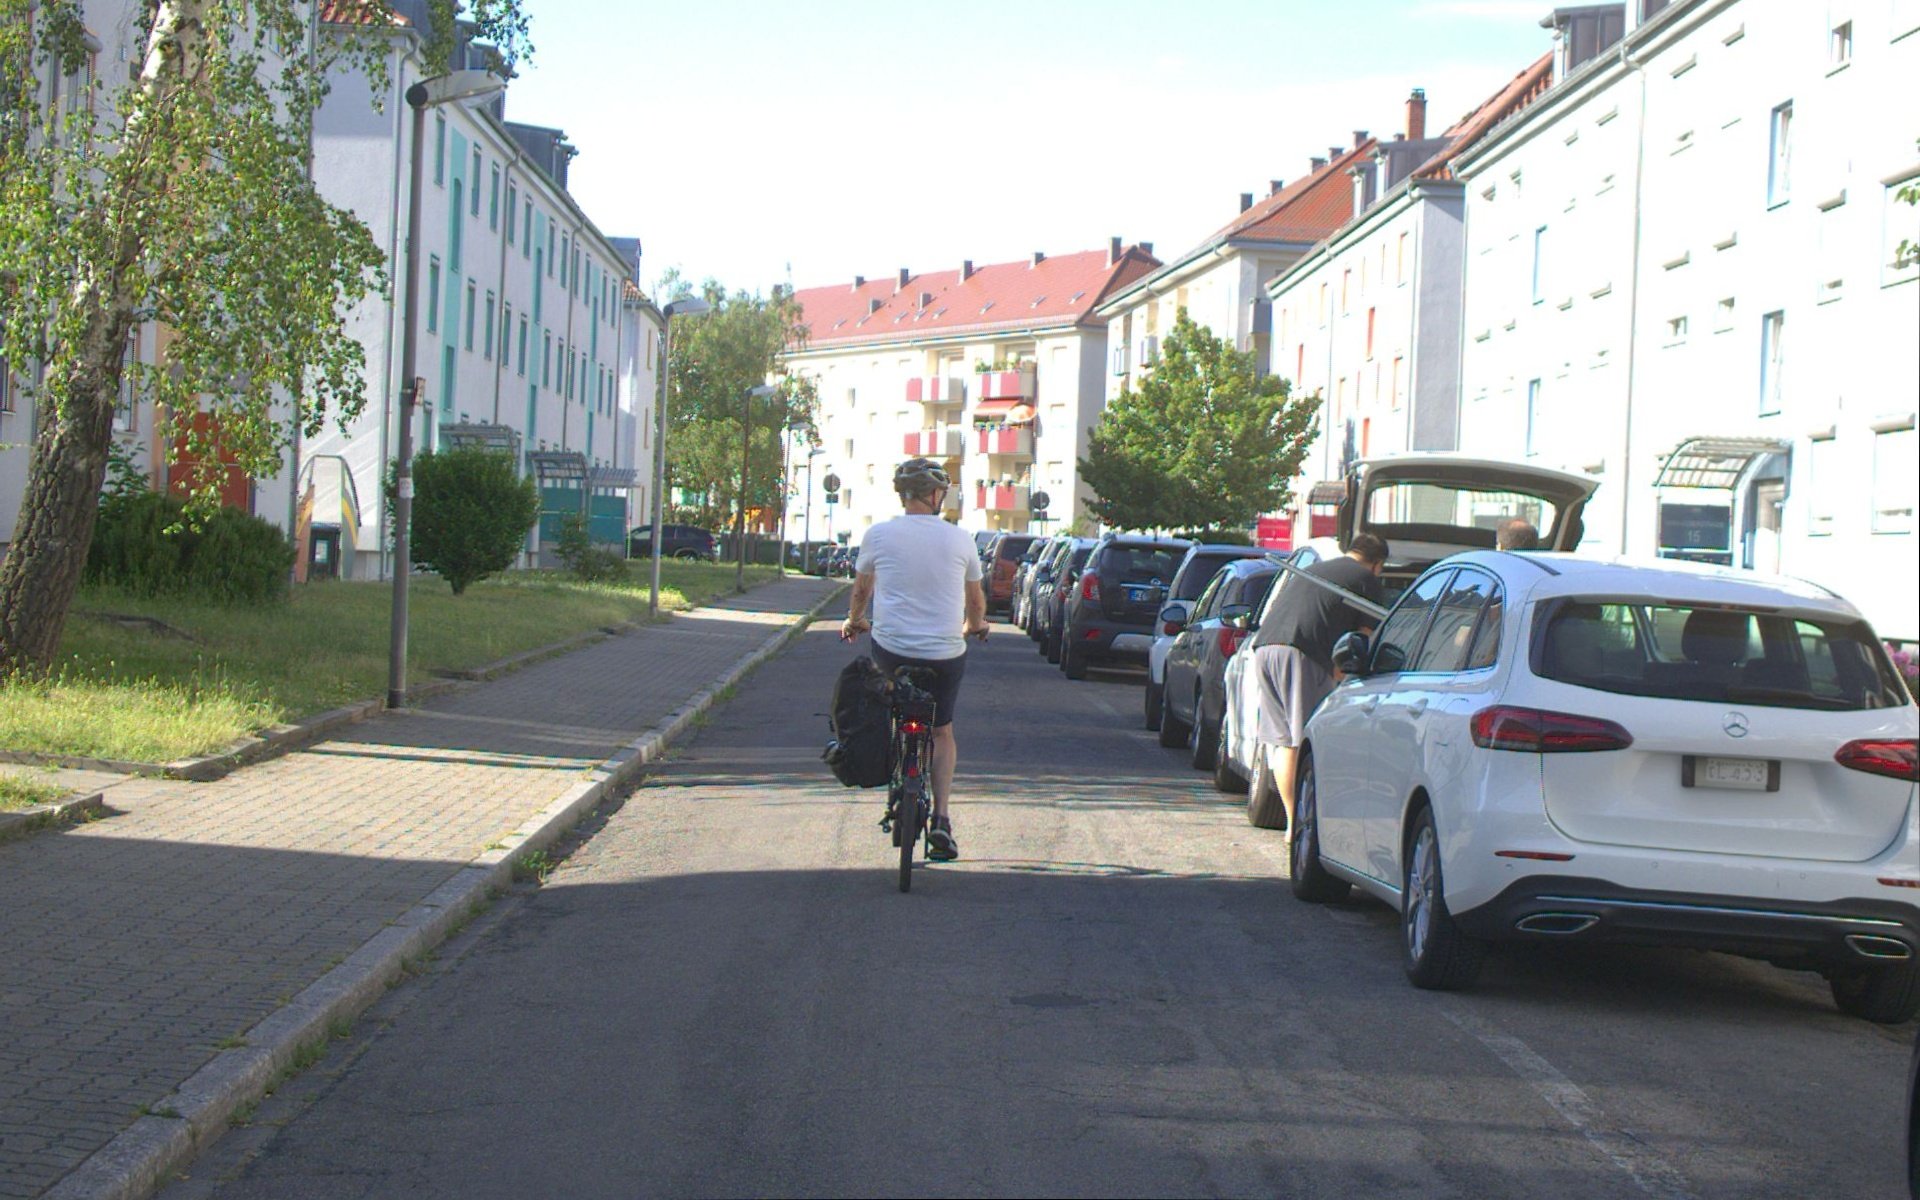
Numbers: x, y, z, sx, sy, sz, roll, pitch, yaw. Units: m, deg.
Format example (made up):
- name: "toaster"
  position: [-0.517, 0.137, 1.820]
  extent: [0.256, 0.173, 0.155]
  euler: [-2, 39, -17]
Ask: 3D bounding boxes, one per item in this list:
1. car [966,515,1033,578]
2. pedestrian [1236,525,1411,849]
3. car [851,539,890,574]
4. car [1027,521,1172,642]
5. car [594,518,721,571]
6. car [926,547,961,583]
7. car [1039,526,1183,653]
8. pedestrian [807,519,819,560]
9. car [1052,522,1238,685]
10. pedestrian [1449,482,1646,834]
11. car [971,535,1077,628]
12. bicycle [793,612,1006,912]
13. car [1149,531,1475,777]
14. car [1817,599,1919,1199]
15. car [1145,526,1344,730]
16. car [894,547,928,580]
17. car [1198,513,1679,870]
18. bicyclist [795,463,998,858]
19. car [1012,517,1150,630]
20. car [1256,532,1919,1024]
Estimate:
- name: "car"
  position: [1.158, -1.625, 103.218]
  extent: [1.674, 1.733, 3.943]
  euler: [3, 1, -3]
- name: "pedestrian"
  position: [1.813, 0.417, 17.247]
  extent: [0.739, 1.569, 0.880]
  euler: [1, 1, -1]
- name: "car"
  position: [-3.542, -1.733, 135.852]
  extent: [1.469, 1.331, 3.141]
  euler: [1, 1, -3]
- name: "car"
  position: [1.985, -0.303, 49.919]
  extent: [1.690, 1.569, 4.435]
  euler: [4, 1, -2]
- name: "car"
  position: [-10.309, -1.893, 117.142]
  extent: [4.230, 1.633, 1.583]
  euler: [2, 1, -4]
- name: "car"
  position: [-0.739, -1.563, 152.334]
  extent: [1.381, 1.492, 3.077]
  euler: [1, 1, -3]
- name: "car"
  position: [1.902, -0.176, 44.313]
  extent: [1.641, 1.493, 4.157]
  euler: [2, 1, 0]
- name: "pedestrian"
  position: [-5.636, -2.320, 132.007]
  extent: [0.434, 1.569, 0.543]
  euler: [1, 1, -1]
- name: "car"
  position: [2.049, -0.013, 39.218]
  extent: [1.783, 1.642, 4.469]
  euler: [4, 1, 0]
- name: "pedestrian"
  position: [2.876, 0.272, 16.877]
  extent: [0.819, 1.681, 0.604]
  euler: [1, 1, -1]
- name: "car"
  position: [1.241, -0.391, 68.594]
  extent: [1.862, 1.662, 4.127]
  euler: [4, 1, -1]
- name: "bicycle"
  position: [-0.293, 0.650, 14.746]
  extent: [0.808, 1.124, 2.102]
  euler: [1, 1, -3]
- name: "car"
  position: [2.422, 0.317, 24.570]
  extent: [1.693, 1.486, 3.985]
  euler: [4, 1, -2]
- name: "car"
  position: [2.722, 0.812, 5.626]
  extent: [1.647, 1.444, 4.060]
  euler: [4, 1, 2]
- name: "car"
  position: [2.360, 0.194, 29.044]
  extent: [1.480, 1.524, 2.940]
  euler: [4, 1, 3]
- name: "car"
  position: [-2.365, -1.749, 165.098]
  extent: [1.469, 1.511, 3.077]
  euler: [1, 1, -3]
- name: "car"
  position: [2.512, 0.392, 19.316]
  extent: [1.993, 1.607, 4.995]
  euler: [4, 1, 1]
- name: "bicyclist"
  position: [-0.286, 0.244, 14.848]
  extent: [0.808, 1.638, 0.899]
  euler: [1, 1, -3]
- name: "car"
  position: [1.930, -0.464, 55.970]
  extent: [1.750, 1.612, 4.453]
  euler: [5, 1, -3]
- name: "car"
  position: [2.368, 0.539, 13.327]
  extent: [1.772, 1.499, 4.481]
  euler: [3, 1, -3]
